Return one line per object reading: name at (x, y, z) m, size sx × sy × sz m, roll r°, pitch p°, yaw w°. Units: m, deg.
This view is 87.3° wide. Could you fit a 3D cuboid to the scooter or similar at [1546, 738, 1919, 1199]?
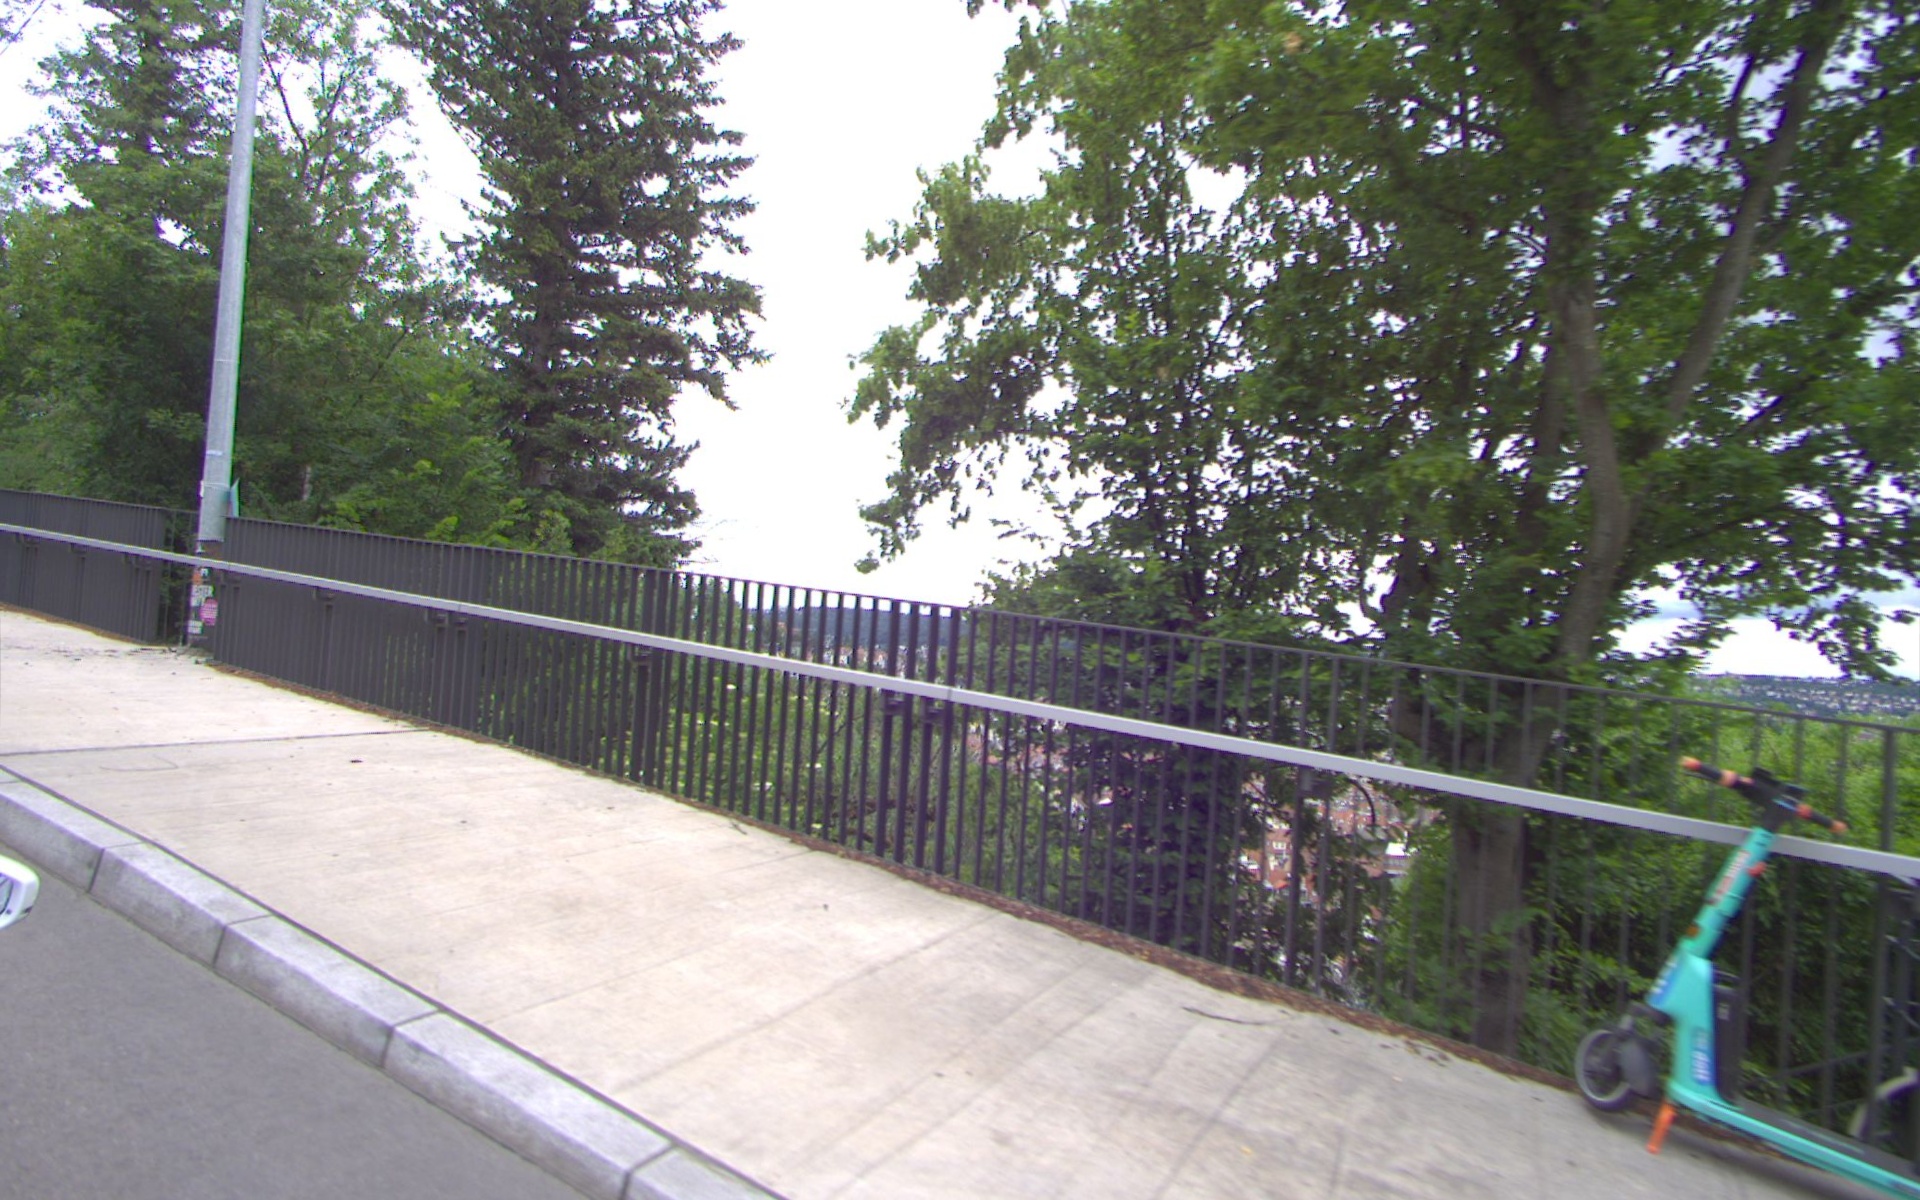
scooter or similar at (2.594, 1.163, 3.089) m, size 1.187 × 1.242 × 0.534 m, roll 8°, pitch 2°, yaw 37°
